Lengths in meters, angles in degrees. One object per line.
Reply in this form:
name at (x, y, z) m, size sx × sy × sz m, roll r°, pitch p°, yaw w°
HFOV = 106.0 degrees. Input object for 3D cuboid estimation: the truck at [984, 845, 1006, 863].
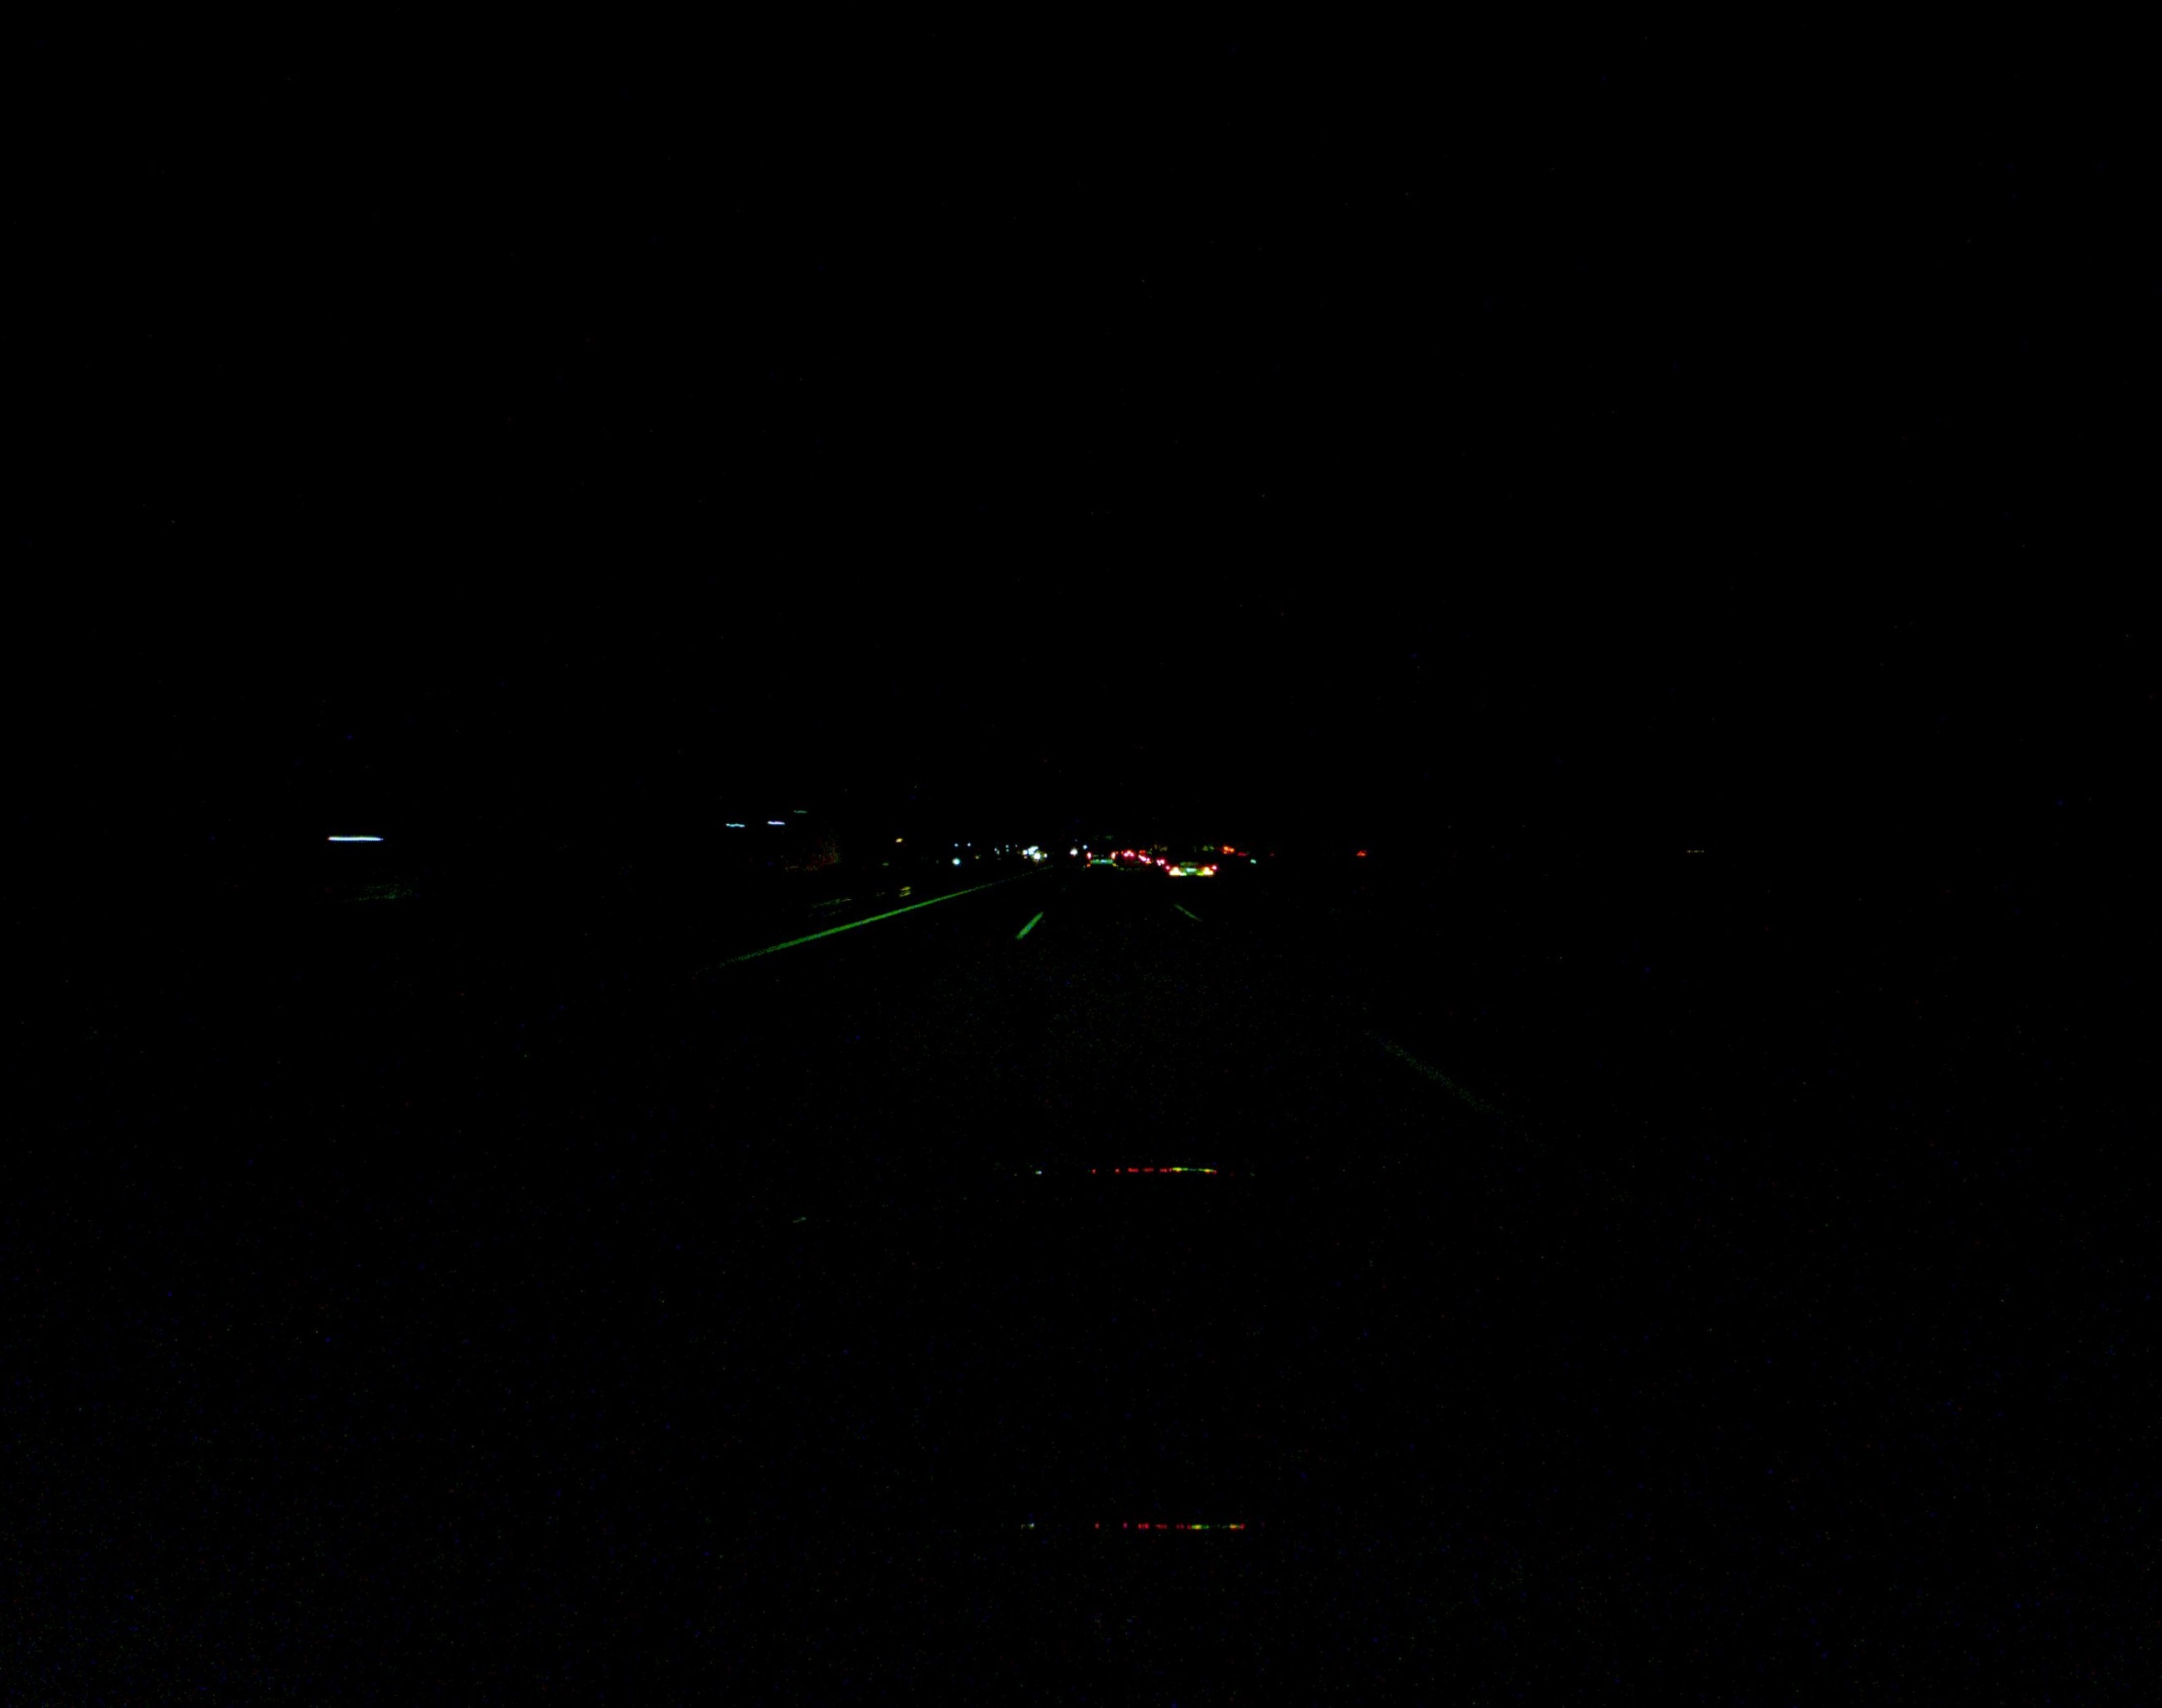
truck at (-18.887, 0.139, 179.926) m, size 2.875 × 3.849 × 15.071 m, roll 0°, pitch -1°, yaw 1°

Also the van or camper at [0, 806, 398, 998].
van or camper at (-15.881, 0.701, 13.791) m, size 2.077 × 2.632 × 7.605 m, roll -2°, pitch 0°, yaw 1°

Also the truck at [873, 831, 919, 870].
truck at (-17.840, -0.342, 78.960) m, size 2.863 × 3.673 × 6.053 m, roll -1°, pitch 0°, yaw 2°

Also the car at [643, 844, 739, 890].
car at (-18.302, 0.619, 38.553) m, size 1.987 × 2.014 × 5.242 m, roll 0°, pitch -1°, yaw 0°

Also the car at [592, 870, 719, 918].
car at (-14.371, 1.284, 27.839) m, size 1.723 × 1.486 × 4.649 m, roll 0°, pitch -1°, yaw 3°

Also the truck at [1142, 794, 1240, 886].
truck at (6.594, -0.618, 53.686) m, size 3.901 × 4.627 × 21.023 m, roll -4°, pitch -1°, yaw 2°

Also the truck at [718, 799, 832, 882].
truck at (-14.601, -0.563, 39.484) m, size 2.864 × 3.674 × 6.780 m, roll 0°, pitch -1°, yaw 1°

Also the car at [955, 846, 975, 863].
car at (-14.120, 0.138, 99.073) m, size 1.989 × 2.014 × 3.995 m, roll 0°, pitch -1°, yaw -3°

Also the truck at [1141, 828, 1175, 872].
truck at (8.520, -0.471, 91.844) m, size 3.330 × 4.476 × 13.923 m, roll -1°, pitch 0°, yaw 4°

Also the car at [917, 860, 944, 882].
car at (-13.878, 1.542, 75.363) m, size 1.989 × 2.014 × 3.995 m, roll 0°, pitch -1°, yaw -3°

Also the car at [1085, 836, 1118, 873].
car at (1.552, 0.079, 62.523) m, size 2.329 × 2.640 × 5.247 m, roll -2°, pitch -1°, yaw 1°

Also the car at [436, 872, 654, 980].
car at (-11.185, 1.410, 17.416) m, size 1.987 × 2.014 × 3.999 m, roll 0°, pitch -1°, yaw 0°

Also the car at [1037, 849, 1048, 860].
car at (-7.649, 0.090, 161.435) m, size 1.989 × 2.014 × 3.995 m, roll 0°, pitch -1°, yaw -3°

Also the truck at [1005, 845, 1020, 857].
truck at (-18.678, -0.809, 222.914) m, size 3.157 × 3.222 × 7.450 m, roll 0°, pitch -1°, yaw 2°

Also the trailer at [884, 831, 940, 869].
trailer at (-17.716, -0.313, 86.341) m, size 2.875 × 3.671 × 13.050 m, roll 0°, pitch -1°, yaw 1°

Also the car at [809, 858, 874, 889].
car at (-10.979, 0.890, 37.640) m, size 1.989 × 1.359 × 3.995 m, roll 0°, pitch -1°, yaw -3°

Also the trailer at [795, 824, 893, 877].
trailer at (-18.226, -0.308, 64.243) m, size 2.875 × 3.671 × 15.242 m, roll -1°, pitch 0°, yaw 1°

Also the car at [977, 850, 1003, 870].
car at (-9.594, 0.663, 86.187) m, size 1.985 × 2.014 × 5.327 m, roll 0°, pitch -1°, yaw 2°

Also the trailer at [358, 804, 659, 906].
trailer at (-22.907, 0.037, 34.358) m, size 2.949 × 3.442 × 13.439 m, roll -1°, pitch 0°, yaw 1°

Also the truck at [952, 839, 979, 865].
truck at (-17.041, -0.235, 120.790) m, size 2.849 × 3.687 × 6.604 m, roll 0°, pitch -1°, yaw 1°

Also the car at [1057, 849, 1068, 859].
car at (-3.886, -0.062, 170.505) m, size 1.989 × 2.014 × 3.995 m, roll 0°, pitch -1°, yaw -3°

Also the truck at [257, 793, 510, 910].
truck at (-23.017, -0.085, 27.449) m, size 2.949 × 3.442 × 6.363 m, roll -1°, pitch 0°, yaw 1°

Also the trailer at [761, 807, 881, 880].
trailer at (-14.537, -0.428, 46.890) m, size 2.876 × 3.671 × 12.215 m, roll 0°, pitch -1°, yaw 0°

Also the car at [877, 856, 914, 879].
car at (-14.157, 1.028, 62.241) m, size 1.989 × 1.686 × 4.502 m, roll 0°, pitch -1°, yaw -3°

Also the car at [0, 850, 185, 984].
car at (-23.011, 1.273, 16.655) m, size 2.306 × 2.718 × 6.357 m, roll 0°, pitch 0°, yaw 0°

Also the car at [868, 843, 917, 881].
car at (-10.388, 0.445, 45.123) m, size 1.989 × 2.014 × 3.995 m, roll 0°, pitch -1°, yaw -3°

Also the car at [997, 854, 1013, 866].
car at (-12.576, 1.024, 135.772) m, size 1.986 × 2.014 × 5.327 m, roll 0°, pitch -1°, yaw 2°

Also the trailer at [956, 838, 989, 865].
trailer at (-16.897, -0.280, 128.368) m, size 2.875 × 3.849 × 15.071 m, roll 0°, pitch -1°, yaw 1°
